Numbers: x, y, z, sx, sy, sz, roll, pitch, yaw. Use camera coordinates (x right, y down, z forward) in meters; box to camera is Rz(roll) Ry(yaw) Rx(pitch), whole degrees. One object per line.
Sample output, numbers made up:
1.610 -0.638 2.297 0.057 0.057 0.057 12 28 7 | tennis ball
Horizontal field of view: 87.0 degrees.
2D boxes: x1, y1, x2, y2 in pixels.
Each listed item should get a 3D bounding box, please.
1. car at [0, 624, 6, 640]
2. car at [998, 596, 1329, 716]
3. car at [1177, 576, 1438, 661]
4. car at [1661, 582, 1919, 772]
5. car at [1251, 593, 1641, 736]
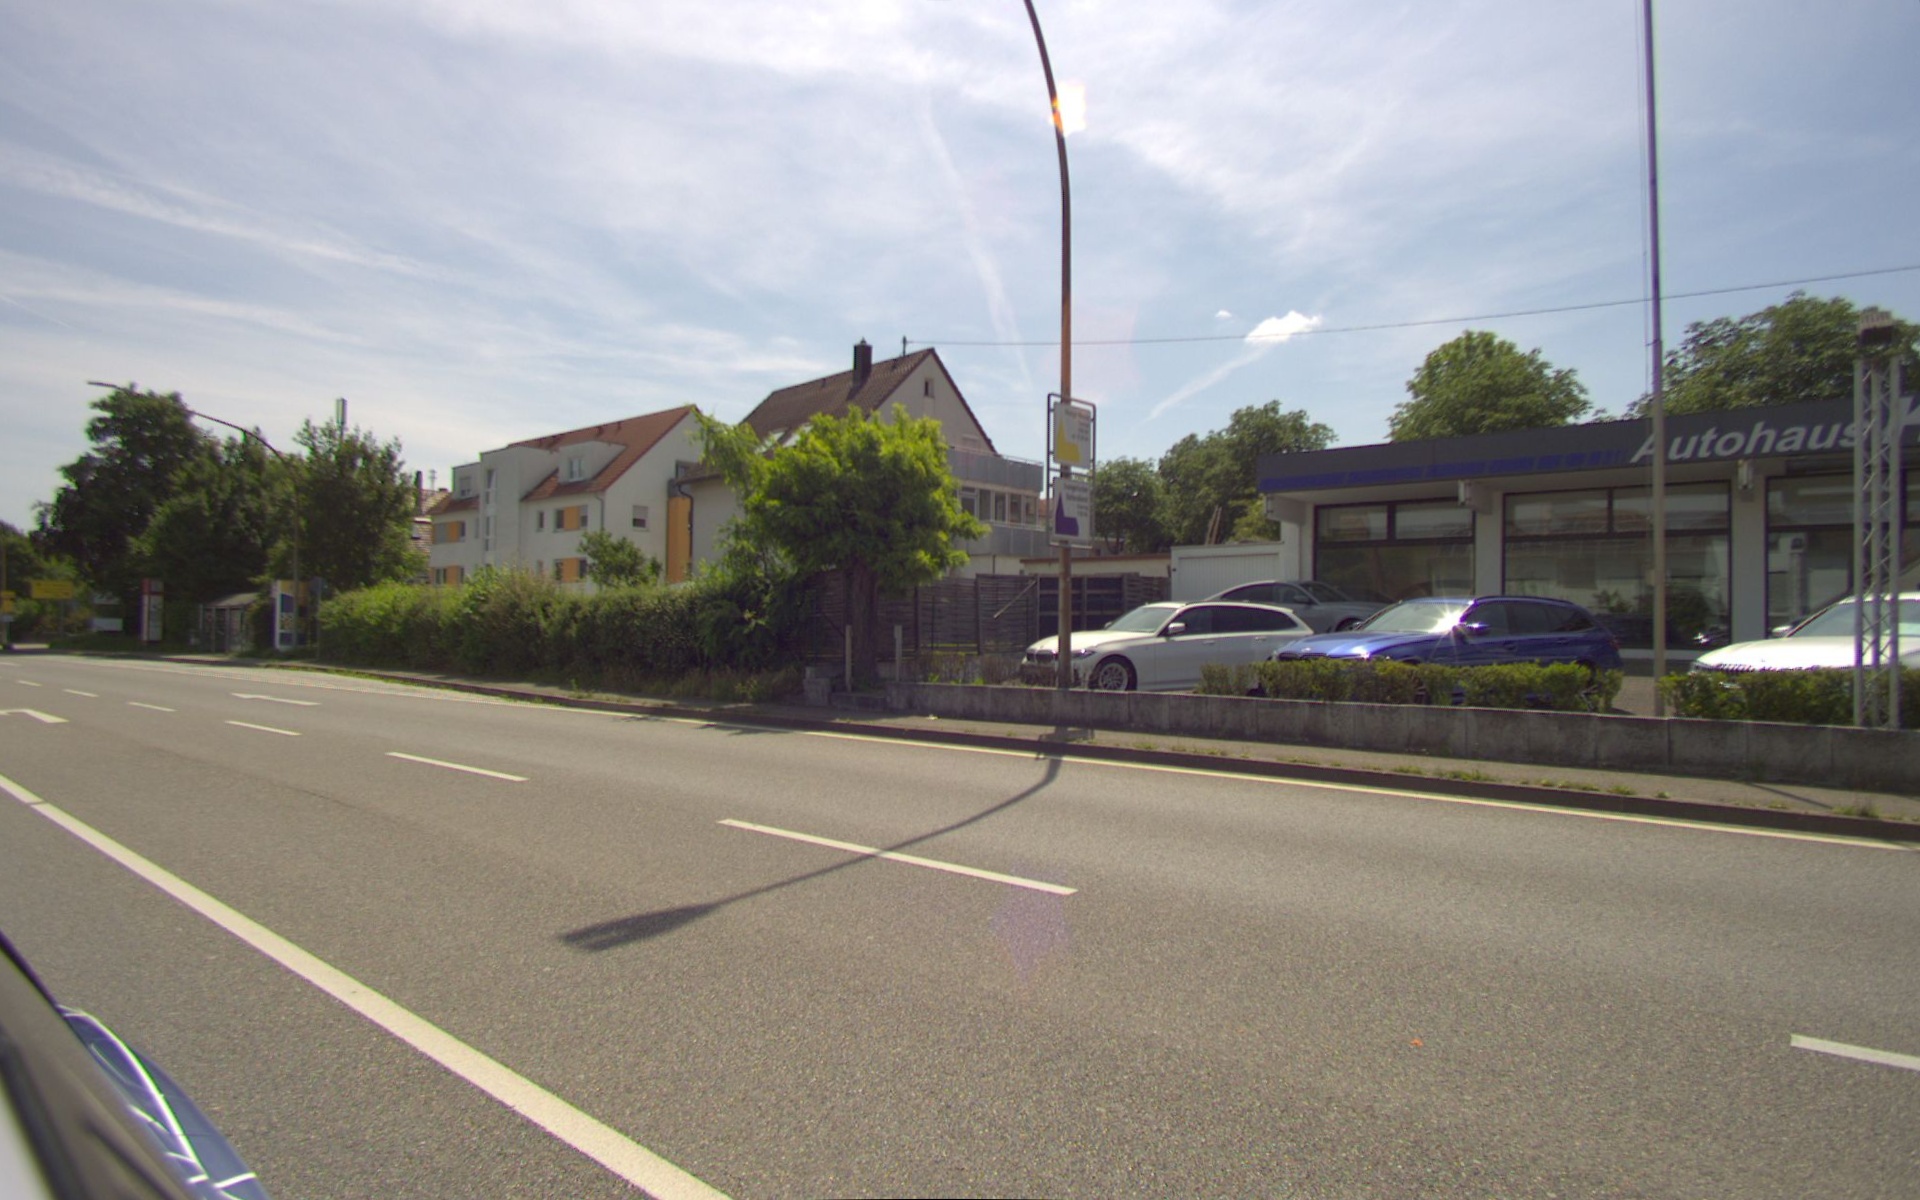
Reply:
-109.509 3.647 113.108 1.996 1.783 3.952 0 1 36 | car
3.017 0.737 15.033 4.501 1.458 1.863 -2 1 -21 | car
6.694 0.345 19.952 1.782 1.475 4.589 -1 0 -40 | car
9.063 0.559 9.378 4.438 1.458 1.863 -1 0 -18 | car
5.922 0.675 12.374 4.267 1.458 1.863 -1 1 -21 | car
